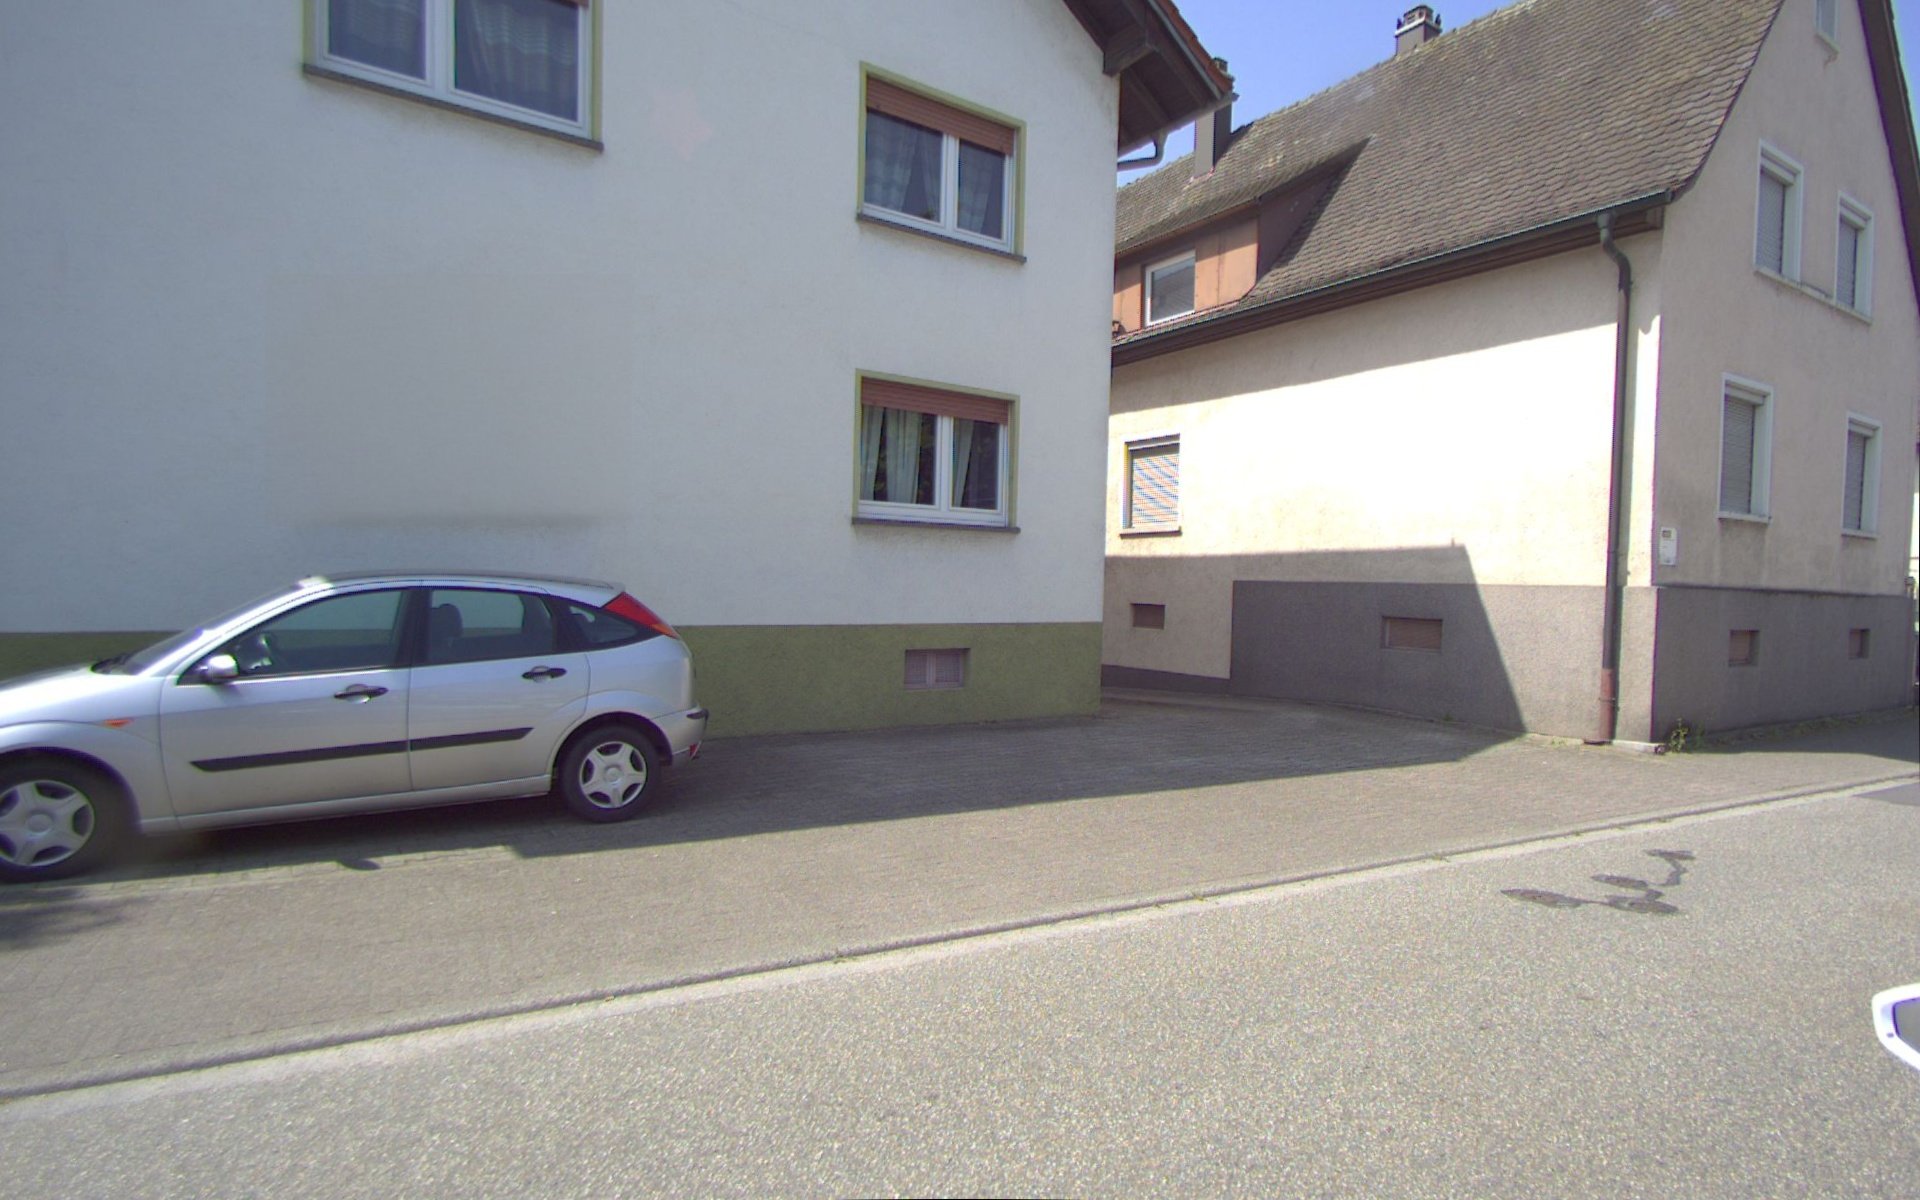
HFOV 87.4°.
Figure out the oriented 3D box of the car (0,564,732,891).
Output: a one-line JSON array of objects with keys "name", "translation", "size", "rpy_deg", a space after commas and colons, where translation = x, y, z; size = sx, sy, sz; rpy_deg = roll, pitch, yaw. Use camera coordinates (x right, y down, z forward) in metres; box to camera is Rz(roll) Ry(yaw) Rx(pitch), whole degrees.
[{"name": "car", "translation": [-3.578, 0.557, 5.947], "size": [4.009, 1.454, 1.769], "rpy_deg": [0, 2, -31]}]
